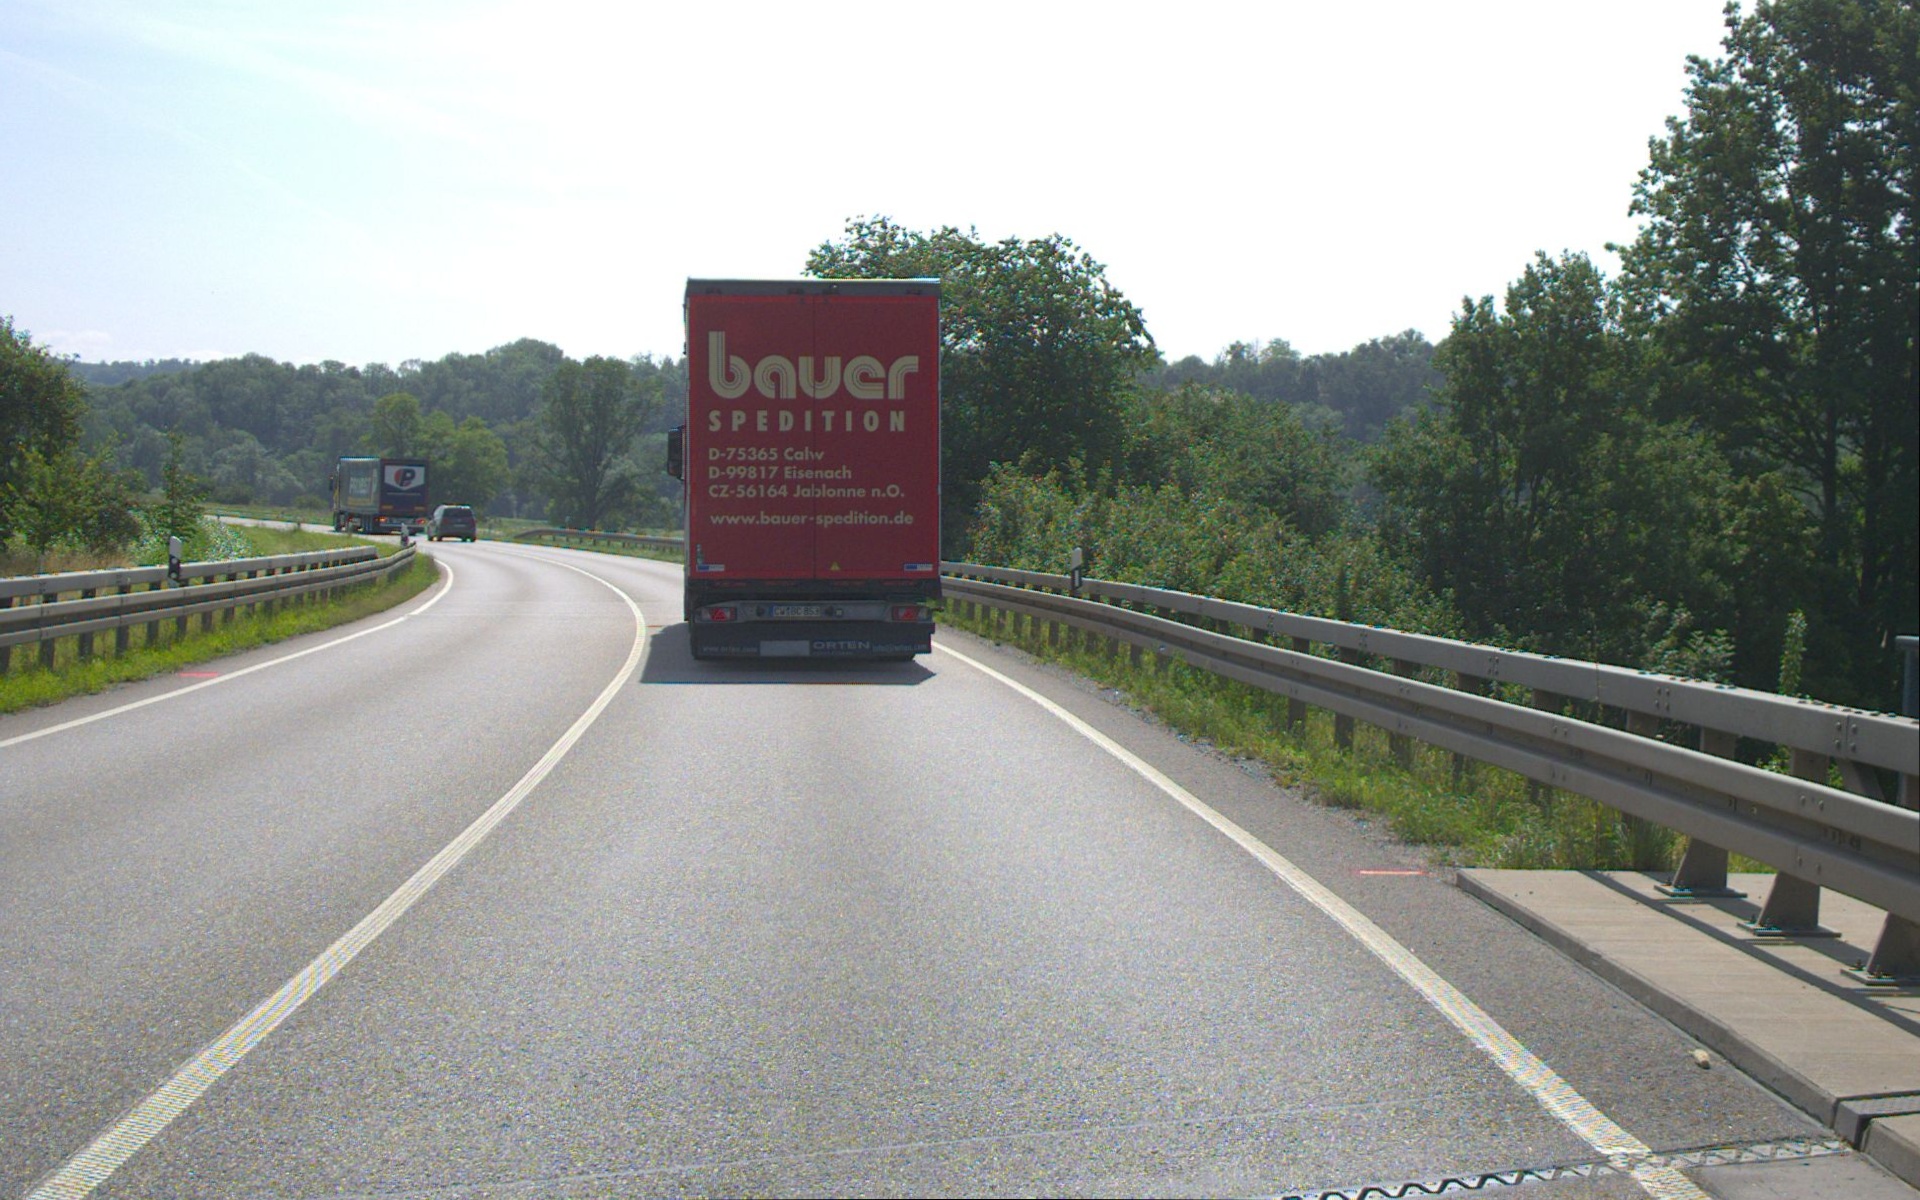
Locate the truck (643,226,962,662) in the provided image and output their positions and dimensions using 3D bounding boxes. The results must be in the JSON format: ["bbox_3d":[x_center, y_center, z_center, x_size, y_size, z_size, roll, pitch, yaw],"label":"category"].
[{"bbox_3d":[-1.769,-1.638,37.945,3.094,4.248,8.316,1,1,-3],"label":"truck"}]

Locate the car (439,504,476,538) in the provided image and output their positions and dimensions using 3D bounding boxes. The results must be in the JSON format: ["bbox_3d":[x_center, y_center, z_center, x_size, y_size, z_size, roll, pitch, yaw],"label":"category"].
[{"bbox_3d":[-23.306,-3.683,159.497,1.581,1.496,3.878,1,2,-10],"label":"car"}]

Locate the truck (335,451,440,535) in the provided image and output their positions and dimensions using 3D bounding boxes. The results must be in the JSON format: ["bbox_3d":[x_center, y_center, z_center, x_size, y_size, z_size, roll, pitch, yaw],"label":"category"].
[{"bbox_3d":[-30.796,-5.701,184.601,3.639,4.277,11.989,0,1,-19],"label":"truck"}]
